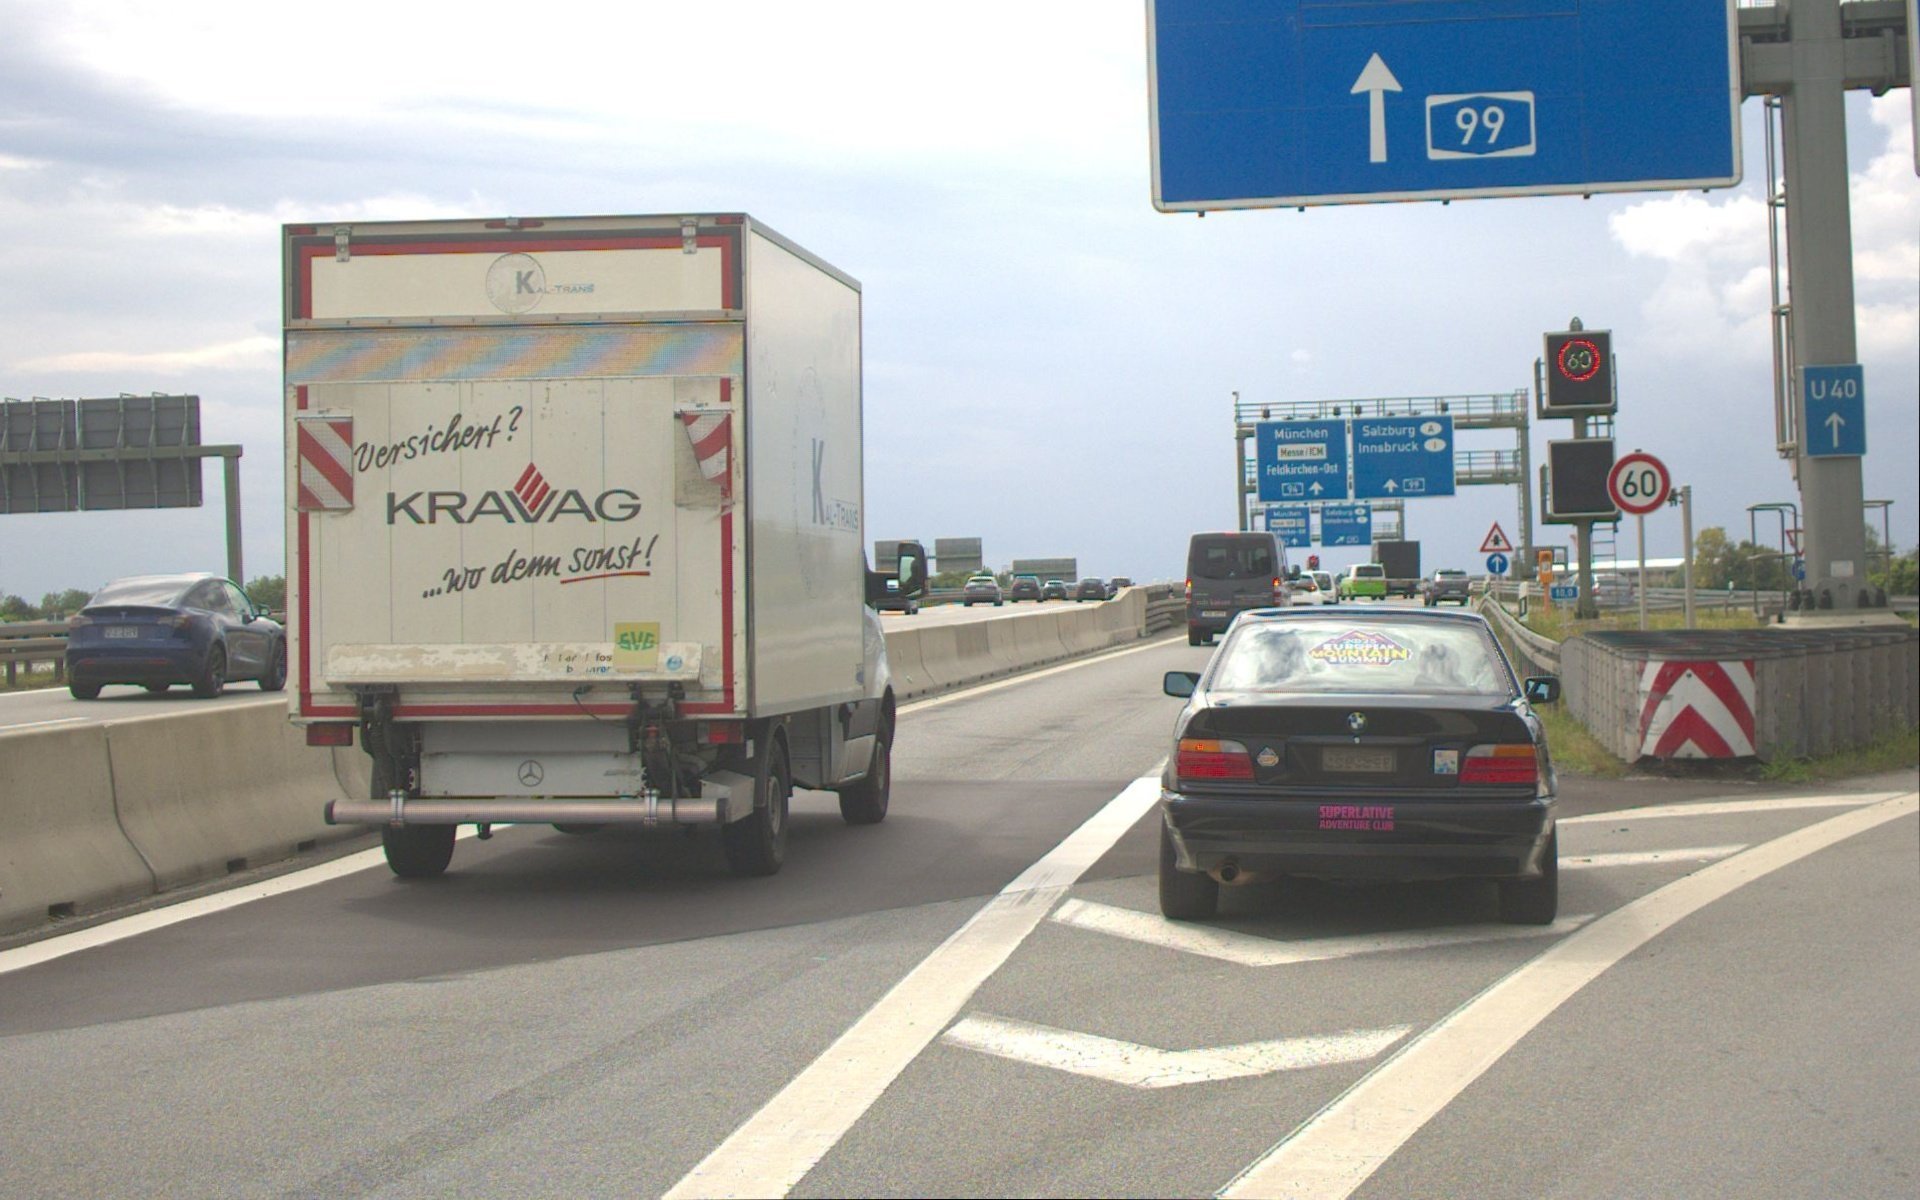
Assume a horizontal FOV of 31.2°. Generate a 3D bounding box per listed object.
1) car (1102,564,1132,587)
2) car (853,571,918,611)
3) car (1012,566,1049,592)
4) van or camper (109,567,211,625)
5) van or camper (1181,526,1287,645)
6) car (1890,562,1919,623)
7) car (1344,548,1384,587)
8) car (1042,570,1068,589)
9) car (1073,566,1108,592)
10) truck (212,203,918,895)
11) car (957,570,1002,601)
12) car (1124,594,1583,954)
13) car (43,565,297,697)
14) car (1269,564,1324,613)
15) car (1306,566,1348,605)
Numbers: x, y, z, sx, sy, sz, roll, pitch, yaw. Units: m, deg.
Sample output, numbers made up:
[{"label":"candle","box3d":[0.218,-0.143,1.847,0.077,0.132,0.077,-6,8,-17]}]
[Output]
[{"label":"car","box3d":[11.981,-1.874,262.469,1.994,1.678,4.865,-1,0,6]},{"label":"car","box3d":[-2.899,-0.350,134.803,2.059,1.522,4.567,-1,0,5]},{"label":"car","box3d":[4.372,-1.303,212.793,1.901,1.633,4.232,0,1,6]},{"label":"van or camper","box3d":[-30.654,-0.181,131.968,2.187,2.164,5.809,-1,1,4]},{"label":"van or camper","box3d":[5.802,-0.322,72.179,2.000,2.362,6.125,-1,0,6]},{"label":"car","box3d":[29.150,-0.215,99.015,1.994,1.766,4.246,-1,1,-36]},{"label":"car","box3d":[21.799,-1.753,185.492,1.994,2.007,3.999,-1,0,5]},{"label":"car","box3d":[6.796,-1.482,245.789,1.553,1.371,3.999,0,1,5]},{"label":"car","box3d":[7.802,-1.249,205.201,1.774,1.525,3.999,-1,0,6]},{"label":"truck","box3d":[-1.827,-0.249,18.606,2.404,3.079,6.369,0,0,6]},{"label":"car","box3d":[1.043,-0.770,181.557,1.901,1.634,4.644,0,1,6]},{"label":"car","box3d":[1.792,0.688,15.643,1.783,1.373,4.136,-1,0,7]},{"label":"car","box3d":[-10.421,0.374,45.686,1.994,1.656,4.383,-1,0,6]},{"label":"car","box3d":[10.728,-0.370,109.677,1.701,1.503,3.839,-1,0,5]},{"label":"car","box3d":[14.389,-0.574,134.761,1.585,1.479,3.534,-1,0,7]}]
